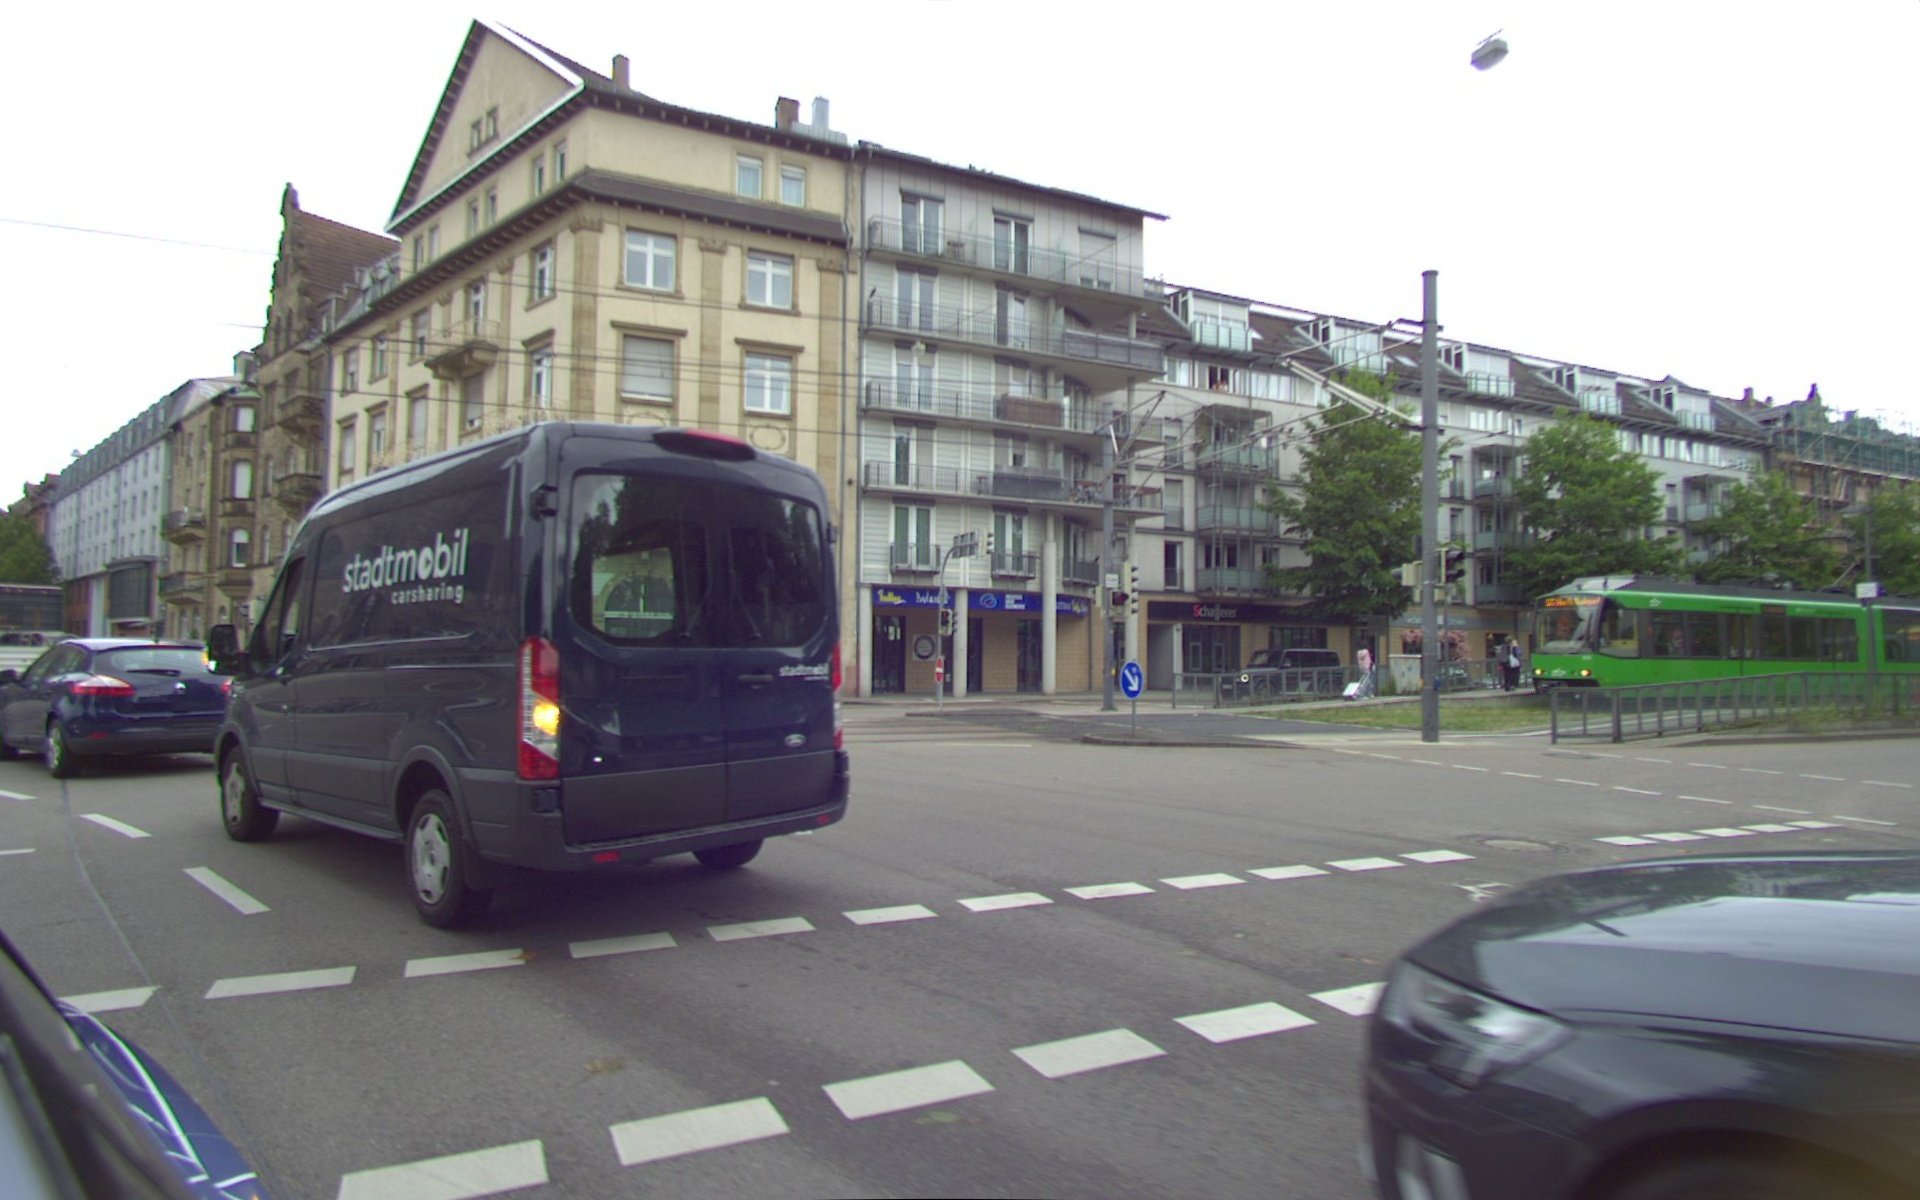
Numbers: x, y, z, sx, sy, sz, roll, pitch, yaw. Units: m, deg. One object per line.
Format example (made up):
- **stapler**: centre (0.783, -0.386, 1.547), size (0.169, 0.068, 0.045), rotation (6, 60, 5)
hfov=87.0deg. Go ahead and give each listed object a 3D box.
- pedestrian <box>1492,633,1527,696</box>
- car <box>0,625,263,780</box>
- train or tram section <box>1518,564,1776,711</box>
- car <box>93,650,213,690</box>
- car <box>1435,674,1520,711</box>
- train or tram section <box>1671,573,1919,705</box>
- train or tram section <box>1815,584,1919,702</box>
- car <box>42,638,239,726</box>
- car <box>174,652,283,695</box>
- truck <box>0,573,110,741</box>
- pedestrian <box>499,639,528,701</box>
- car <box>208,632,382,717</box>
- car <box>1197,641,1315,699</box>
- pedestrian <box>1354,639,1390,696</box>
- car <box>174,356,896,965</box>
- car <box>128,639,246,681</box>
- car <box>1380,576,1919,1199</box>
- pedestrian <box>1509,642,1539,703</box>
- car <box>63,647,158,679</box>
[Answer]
- **pedestrian**: centre (16.511, 1.941, 30.416), size (0.720, 1.879, 0.590), rotation (2, -4, -25)
- **car**: centre (-9.745, 1.088, 11.637), size (3.897, 1.500, 1.651), rotation (-2, -4, 37)
- **train or tram section**: centre (19.611, 1.141, 28.865), size (7.135, 3.790, 2.694), rotation (2, -4, -25)
- **car**: centre (-37.128, 3.181, 46.686), size (1.825, 1.737, 3.977), rotation (-1, -2, 17)
- **car**: centre (23.527, 4.156, 45.983), size (3.933, 1.537, 1.819), rotation (2, -3, -35)
- **train or tram section**: centre (26.539, 1.307, 32.084), size (8.155, 3.790, 2.694), rotation (2, -4, -25)
- **train or tram section**: centre (35.146, 1.611, 36.077), size (10.870, 3.790, 2.694), rotation (2, -4, -25)
- **car**: centre (-15.793, 1.528, 19.467), size (3.987, 1.537, 1.719), rotation (-2, -4, 33)
- **car**: centre (-28.045, 2.795, 38.957), size (1.657, 1.484, 4.006), rotation (-1, -2, -7)
- **truck**: centre (-16.067, 0.917, 16.352), size (5.447, 2.427, 2.057), rotation (-2, -5, 34)
- **pedestrian**: centre (-13.255, 2.069, 30.068), size (0.551, 1.799, 0.560), rotation (-3, -5, 43)
- **car**: centre (-15.938, 1.756, 24.160), size (5.219, 1.840, 1.849), rotation (-3, -6, 38)
- **car**: centre (10.453, 2.455, 35.745), size (3.931, 1.928, 1.695), rotation (2, -4, -28)
- **pedestrian**: centre (11.745, 1.916, 28.858), size (0.720, 1.615, 0.590), rotation (2, -4, -25)
- **car**: centre (-3.165, 0.367, 6.740), size (5.575, 2.470, 2.112), rotation (-2, -4, 41)
- **car**: centre (-32.264, 2.498, 42.416), size (1.707, 1.664, 4.225), rotation (0, -3, -1)
- **car**: centre (3.009, 0.681, 1.166), size (4.316, 1.438, 1.789), rotation (-3, -5, 42)
- **pedestrian**: centre (17.584, 2.243, 31.566), size (0.473, 1.879, 0.618), rotation (2, -4, -25)
- **car**: centre (-46.142, 3.407, 55.072), size (1.681, 1.566, 3.995), rotation (-1, -2, 3)
